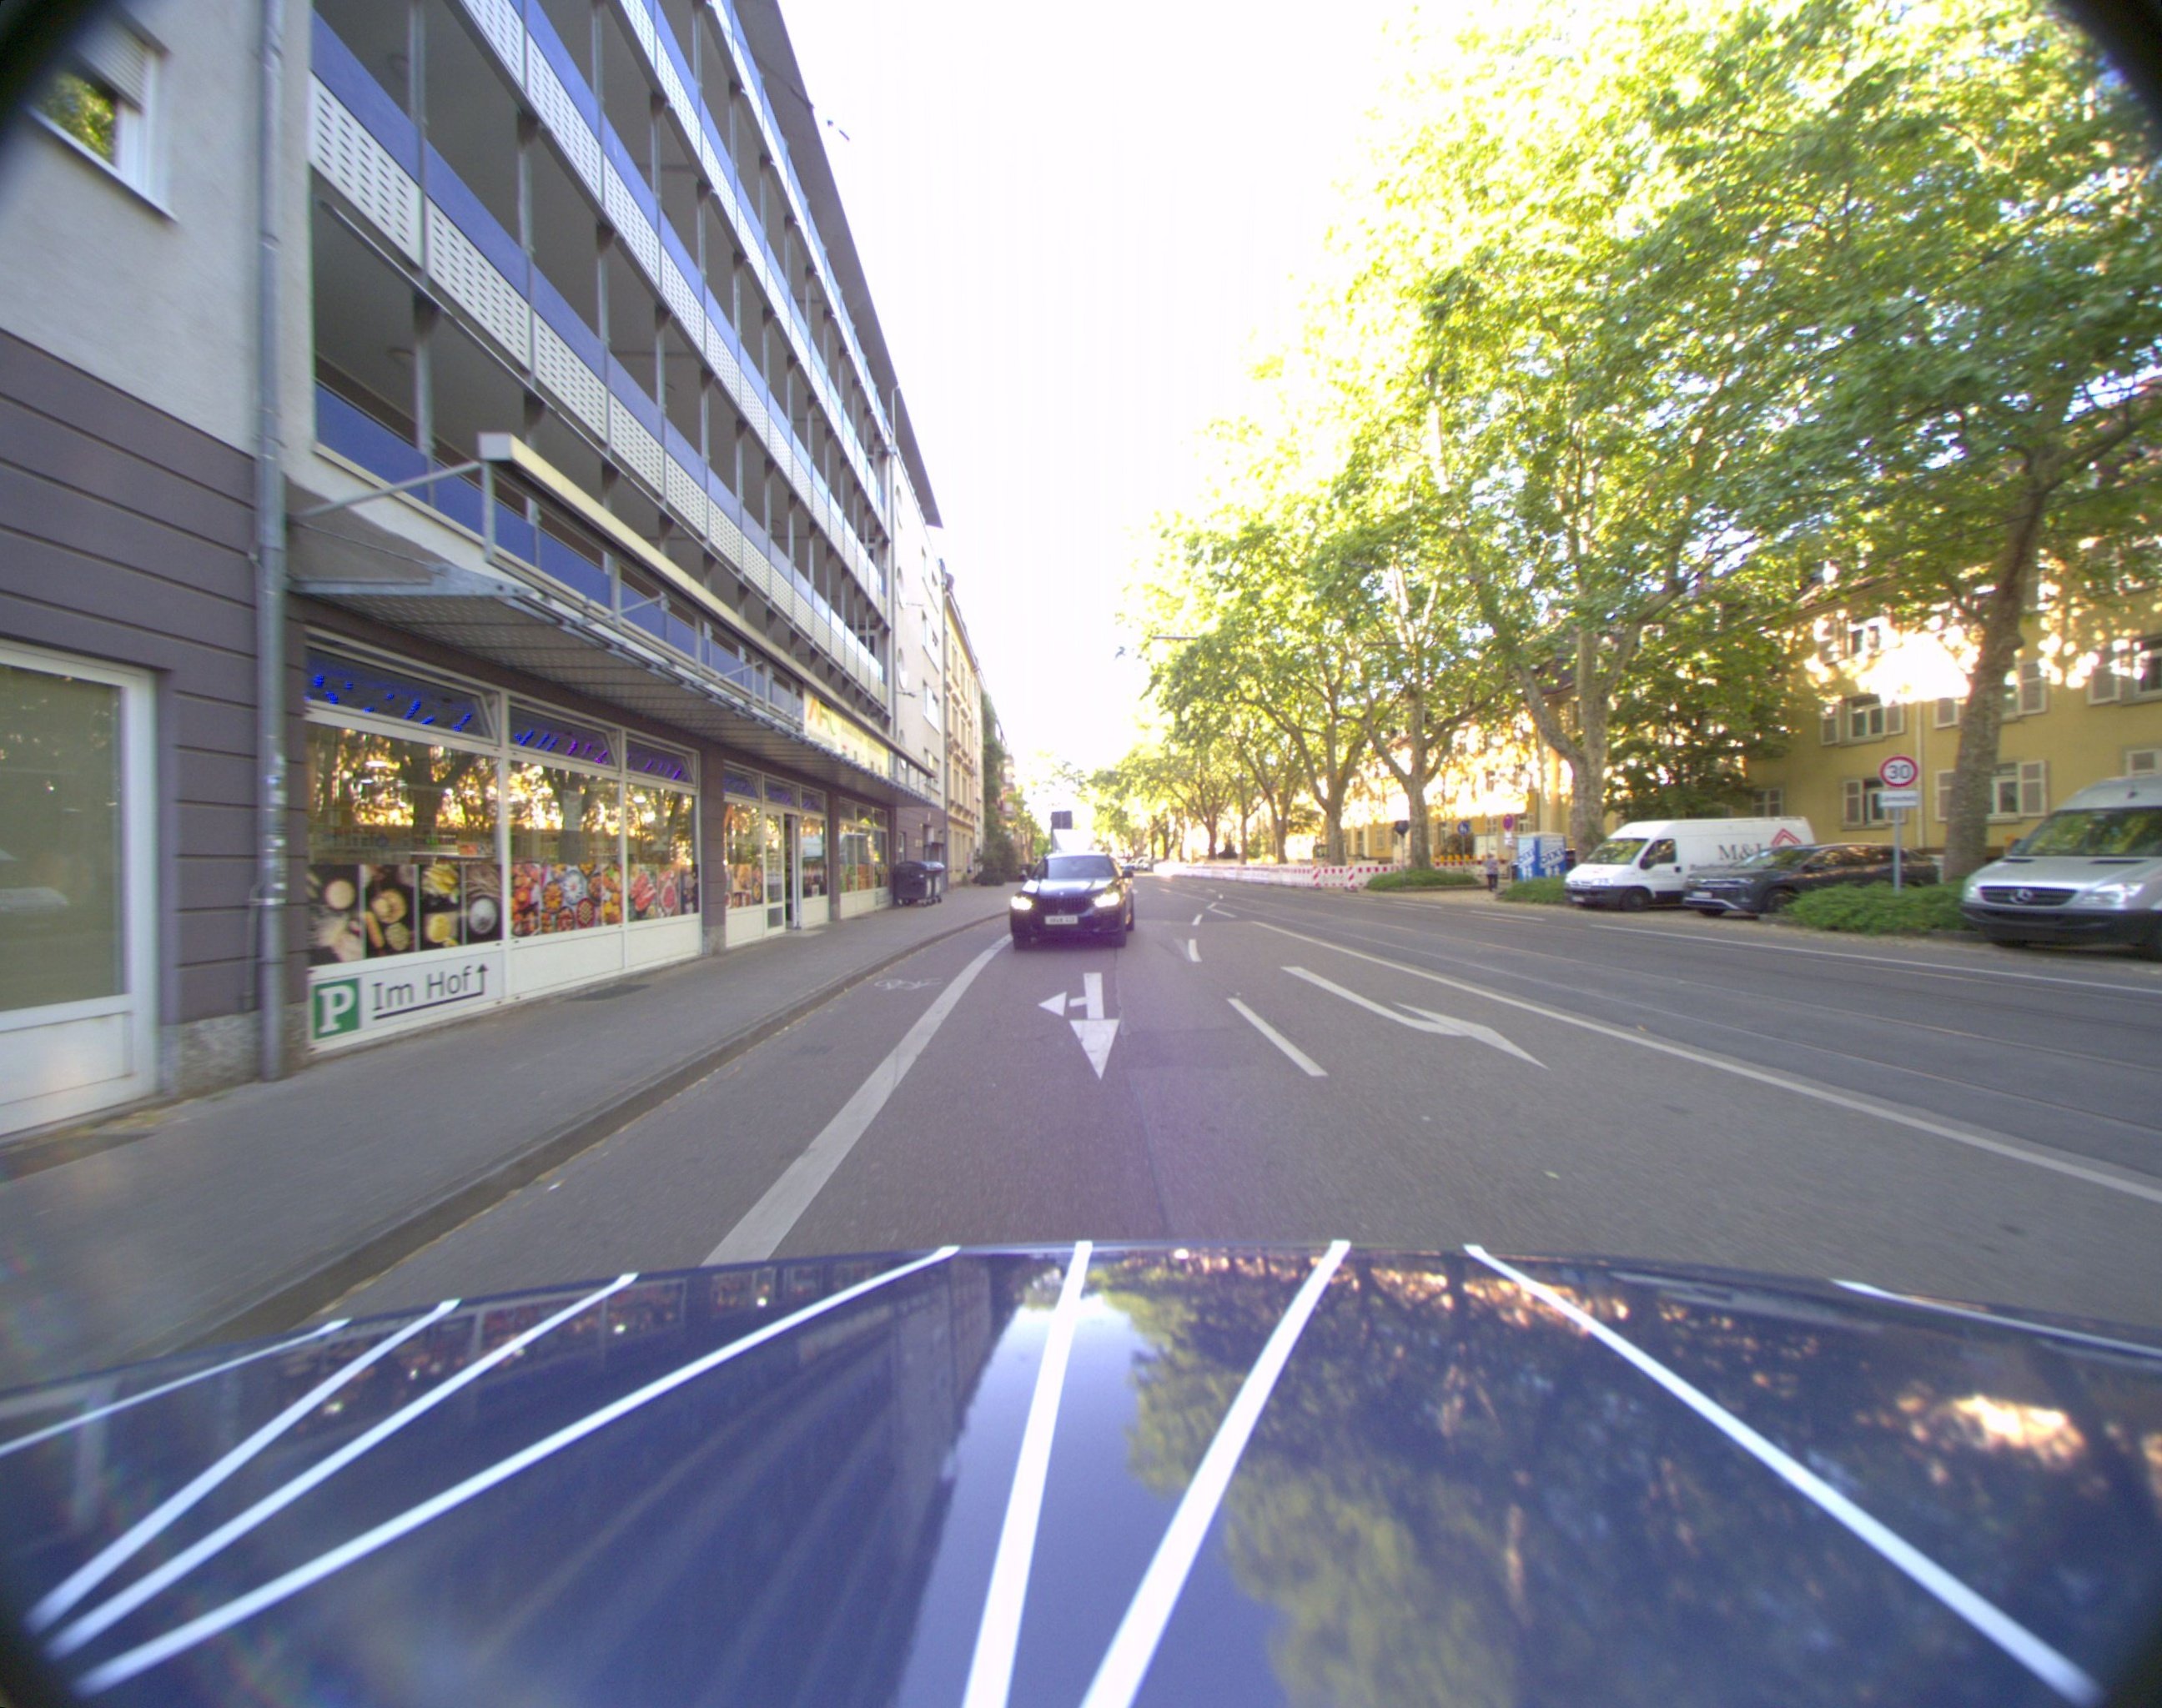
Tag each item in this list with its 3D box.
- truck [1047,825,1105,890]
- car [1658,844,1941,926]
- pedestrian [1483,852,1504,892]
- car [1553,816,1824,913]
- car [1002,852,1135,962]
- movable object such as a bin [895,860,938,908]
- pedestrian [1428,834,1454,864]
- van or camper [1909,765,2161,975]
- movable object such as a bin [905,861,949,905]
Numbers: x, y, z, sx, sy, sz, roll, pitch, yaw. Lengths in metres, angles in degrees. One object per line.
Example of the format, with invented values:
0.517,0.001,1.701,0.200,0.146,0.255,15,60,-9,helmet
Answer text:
-0.436,0.191,41.902,2.385,3.165,8.525,2,0,-5,truck
15.973,0.652,17.060,4.575,1.621,1.969,-1,0,-2,car
16.243,0.712,29.938,0.595,1.563,0.719,-1,0,39,pedestrian
15.893,0.270,20.087,5.612,2.361,2.025,-1,0,-2,car
-0.049,0.863,14.551,1.942,1.733,4.477,-2,0,6,car
-5.175,0.922,23.960,1.069,1.438,1.296,-1,0,0,movable object such as a bin
24.392,-0.318,51.518,1.098,2.002,1.235,-1,0,-4,pedestrian
16.104,0.124,10.887,6.127,2.661,2.229,-2,0,-1,van or camper
-5.228,0.967,25.856,1.122,1.437,1.306,-1,0,4,movable object such as a bin
